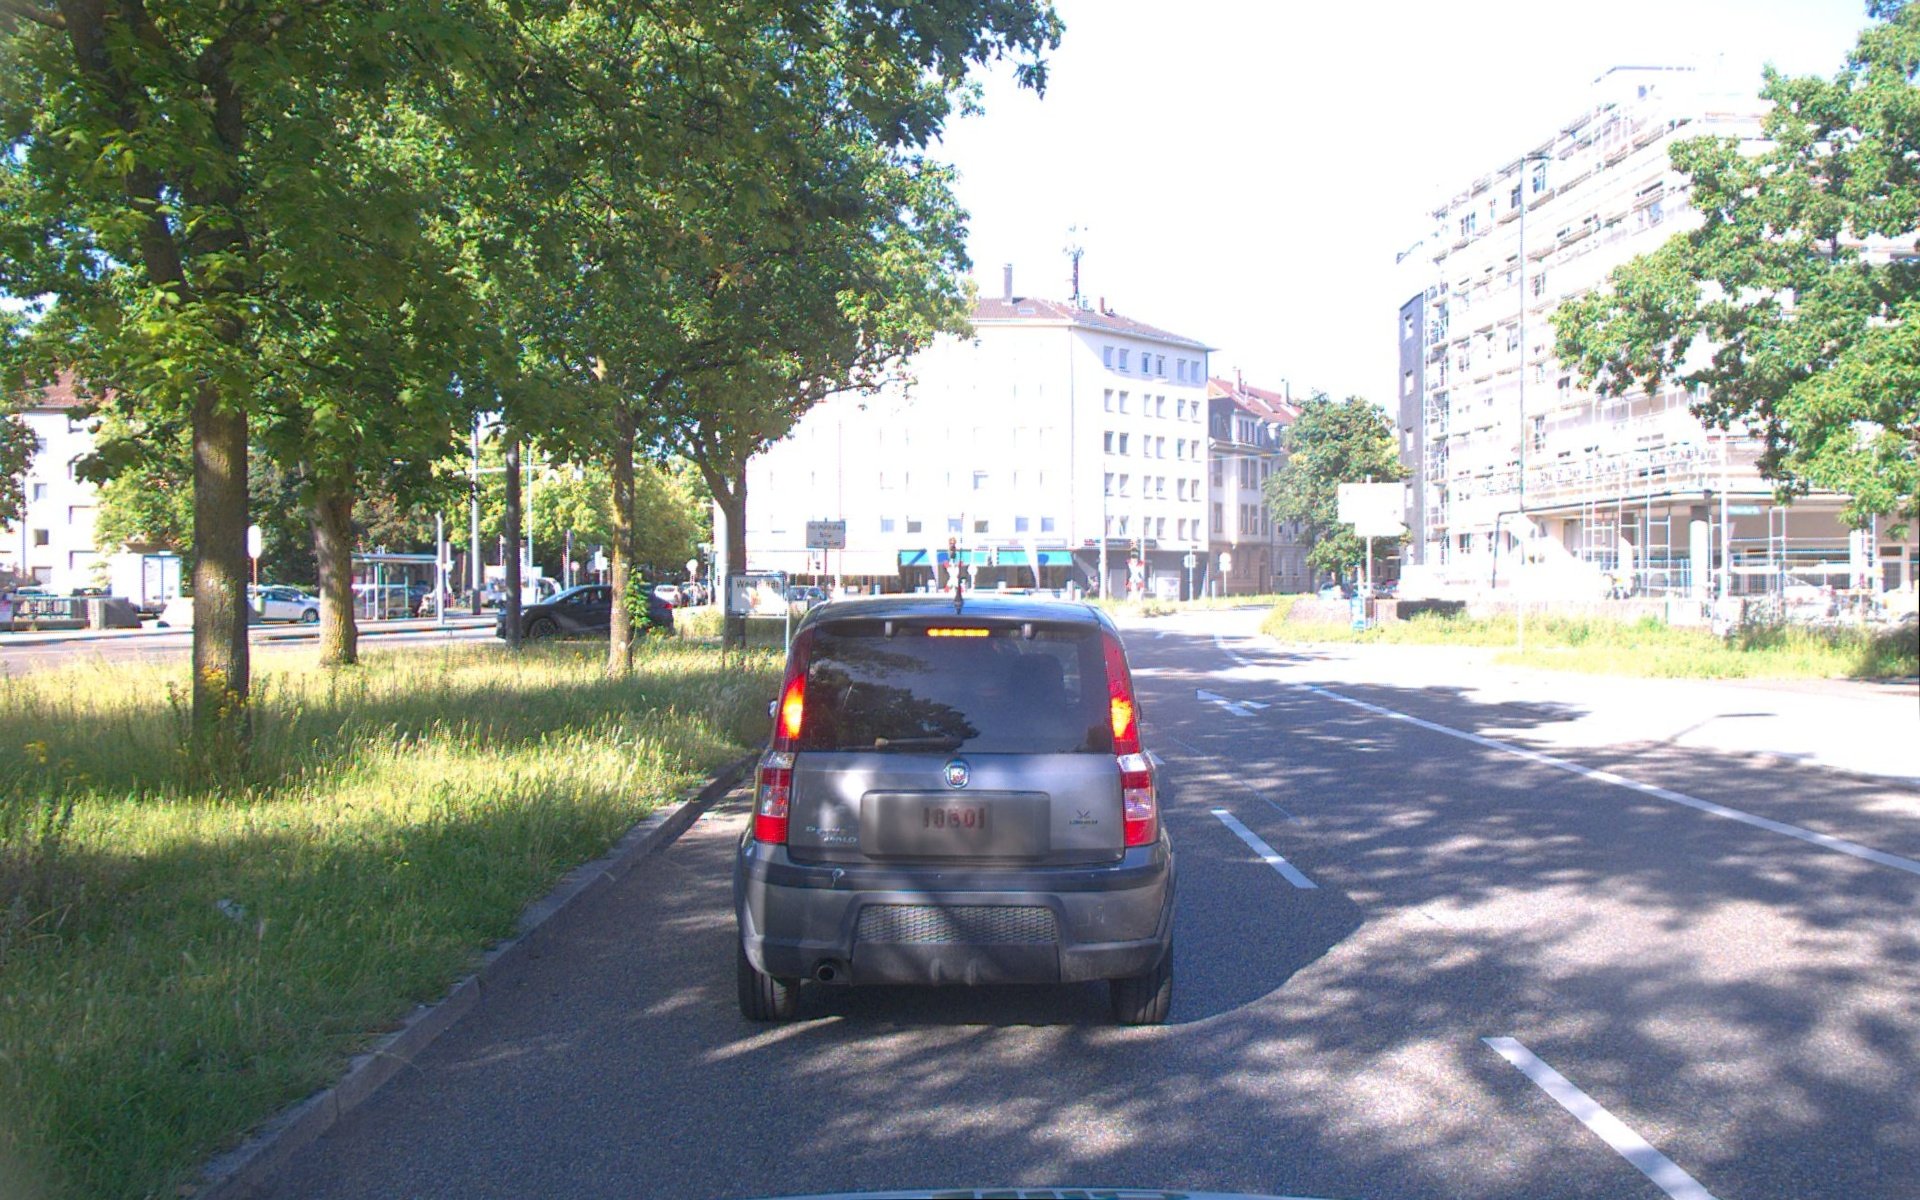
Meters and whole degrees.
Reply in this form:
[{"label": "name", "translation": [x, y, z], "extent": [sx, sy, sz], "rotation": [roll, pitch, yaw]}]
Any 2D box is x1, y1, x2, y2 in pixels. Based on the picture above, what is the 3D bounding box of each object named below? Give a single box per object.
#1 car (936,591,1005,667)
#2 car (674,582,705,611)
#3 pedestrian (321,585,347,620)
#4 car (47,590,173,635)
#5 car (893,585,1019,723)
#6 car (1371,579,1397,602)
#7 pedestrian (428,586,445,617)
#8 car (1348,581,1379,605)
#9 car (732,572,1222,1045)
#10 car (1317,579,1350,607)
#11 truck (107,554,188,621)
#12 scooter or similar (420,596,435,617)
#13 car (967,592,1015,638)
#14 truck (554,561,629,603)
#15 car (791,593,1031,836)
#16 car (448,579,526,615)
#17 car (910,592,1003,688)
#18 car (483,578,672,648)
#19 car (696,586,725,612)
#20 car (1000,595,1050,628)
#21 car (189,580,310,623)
[{"label": "car", "translation": [0.176, 0.551, 33.860], "extent": [1.328, 1.475, 3.265], "rotation": [0, 0, -1]}, {"label": "car", "translation": [-20.156, -0.278, 123.284], "extent": [1.954, 2.049, 3.996], "rotation": [0, 1, -5]}, {"label": "pedestrian", "translation": [-29.250, 0.101, 77.304], "extent": [0.904, 1.636, 0.794], "rotation": [0, 0, 38]}, {"label": "car", "translation": [-33.576, 0.463, 65.404], "extent": [1.961, 1.713, 3.983], "rotation": [0, 1, 38]}, {"label": "car", "translation": [-0.072, 0.601, 20.612], "extent": [1.434, 1.534, 3.504], "rotation": [0, 1, -1]}, {"label": "car", "translation": [28.056, -0.668, 109.433], "extent": [1.495, 1.495, 3.289], "rotation": [0, 1, 17]}, {"label": "pedestrian", "translation": [-24.104, 0.050, 76.189], "extent": [0.407, 1.415, 0.626], "rotation": [0, 0, 26]}, {"label": "car", "translation": [23.008, -0.402, 94.243], "extent": [1.495, 1.337, 3.289], "rotation": [0, 1, 17]}, {"label": "car", "translation": [0.030, 0.657, 7.412], "extent": [1.595, 1.534, 3.999], "rotation": [0, 1, -1]}, {"label": "car", "translation": [20.503, -0.400, 90.713], "extent": [1.646, 1.475, 3.574], "rotation": [0, 1, 15]}, {"label": "truck", "translation": [-35.745, -0.561, 72.689], "extent": [3.932, 2.854, 1.987], "rotation": [0, 1, 44]}, {"label": "scooter or similar", "translation": [-24.351, 0.280, 75.663], "extent": [0.411, 0.943, 0.534], "rotation": [0, 0, 25]}, {"label": "car", "translation": [0.917, 0.438, 49.606], "extent": [1.328, 1.304, 2.875], "rotation": [0, 1, -1]}, {"label": "truck", "translation": [-28.360, -1.366, 127.367], "extent": [5.371, 3.224, 2.341], "rotation": [0, 0, 28]}, {"label": "car", "translation": [-0.320, 0.678, 11.628], "extent": [1.434, 1.425, 3.393], "rotation": [0, 1, -1]}, {"label": "car", "translation": [-27.931, -0.193, 97.750], "extent": [4.093, 2.049, 1.930], "rotation": [0, 0, -3]}, {"label": "car", "translation": [-0.081, 0.605, 27.236], "extent": [1.434, 1.449, 3.381], "rotation": [0, 1, -1]}, {"label": "car", "translation": [-9.791, 0.297, 42.411], "extent": [4.398, 1.676, 1.814], "rotation": [-1, 1, -30]}, {"label": "car", "translation": [-20.040, -0.123, 133.003], "extent": [1.954, 2.049, 3.996], "rotation": [0, 1, -5]}, {"label": "car", "translation": [2.283, 0.396, 57.702], "extent": [1.118, 1.083, 2.723], "rotation": [0, 1, 17]}, {"label": "car", "translation": [-29.956, 0.040, 69.783], "extent": [1.961, 1.713, 4.302], "rotation": [0, 1, 38]}]
